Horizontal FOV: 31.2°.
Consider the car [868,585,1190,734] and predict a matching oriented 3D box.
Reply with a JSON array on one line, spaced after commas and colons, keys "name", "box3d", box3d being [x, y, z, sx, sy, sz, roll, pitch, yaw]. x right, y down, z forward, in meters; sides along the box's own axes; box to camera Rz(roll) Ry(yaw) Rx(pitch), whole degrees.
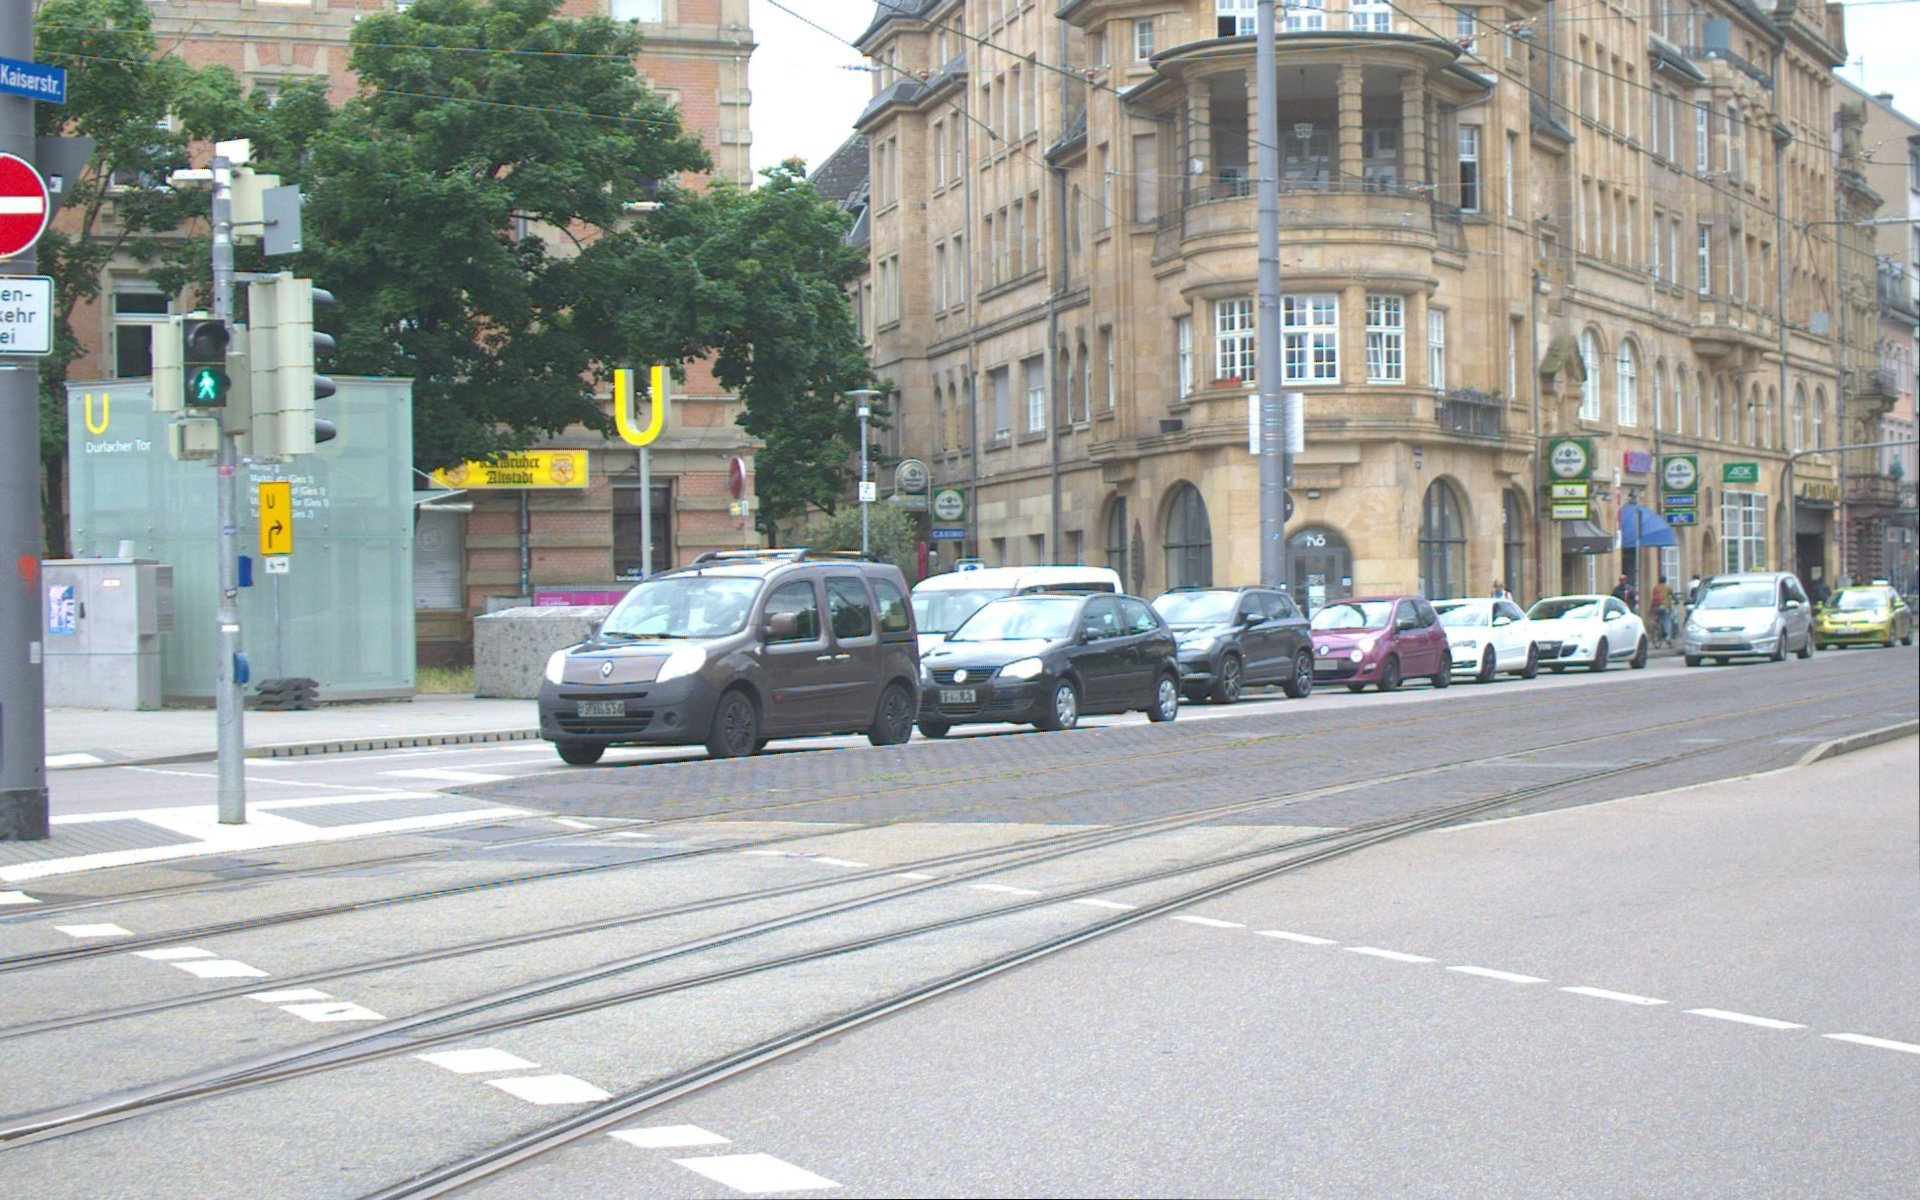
[{"name": "car", "box3d": [0.776, 0.578, 35.429, 1.691, 1.437, 3.994, -1, 0, 28]}]

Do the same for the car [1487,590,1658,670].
[{"name": "car", "box3d": [11.224, 0.535, 62.787, 1.929, 1.375, 4.252, 0, 0, 27]}]

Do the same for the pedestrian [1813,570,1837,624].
[{"name": "pedestrian", "box3d": [25.624, -0.101, 101.874, 0.568, 1.592, 0.717, -1, 0, 24]}]

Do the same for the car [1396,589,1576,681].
[{"name": "car", "box3d": [8.816, 0.566, 57.375, 1.749, 1.375, 4.356, -4, -1, 25]}]

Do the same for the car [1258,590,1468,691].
[{"name": "car", "box3d": [6.173, 0.593, 52.277, 1.865, 1.394, 3.889, -3, -1, 27]}]

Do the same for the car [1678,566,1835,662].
[{"name": "car", "box3d": [15.070, 0.244, 64.892, 1.865, 1.700, 4.902, -2, 0, 25]}]

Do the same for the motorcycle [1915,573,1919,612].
[{"name": "motorcycle", "box3d": [33.121, -0.269, 114.548, 2.335, 1.298, 0.884, -1, 0, -12]}]

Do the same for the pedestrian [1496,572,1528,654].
[{"name": "pedestrian", "box3d": [11.706, 0.277, 72.906, 0.630, 1.713, 0.532, -1, 0, 10]}]

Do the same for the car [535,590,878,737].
[{"name": "car", "box3d": [-2.575, 0.626, 35.810, 1.691, 1.437, 3.994, -1, 0, 28]}]

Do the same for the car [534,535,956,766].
[{"name": "car", "box3d": [-1.816, 0.414, 30.521, 1.691, 1.894, 4.380, -1, 0, 28]}]

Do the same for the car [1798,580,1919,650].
[{"name": "car", "box3d": [20.944, 0.336, 79.792, 1.901, 1.506, 4.421, -2, 0, 27]}]

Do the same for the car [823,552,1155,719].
[{"name": "car", "box3d": [0.442, 0.394, 42.009, 1.866, 1.909, 5.093, -1, 0, 29]}]

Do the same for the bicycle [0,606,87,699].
[{"name": "bicycle", "box3d": [-13.645, 0.771, 51.082, 0.957, 1.349, 3.121, 0, -1, -8]}]

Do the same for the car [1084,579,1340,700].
[{"name": "car", "box3d": [3.537, 0.522, 47.539, 1.866, 1.529, 4.295, -3, -1, 29]}]
